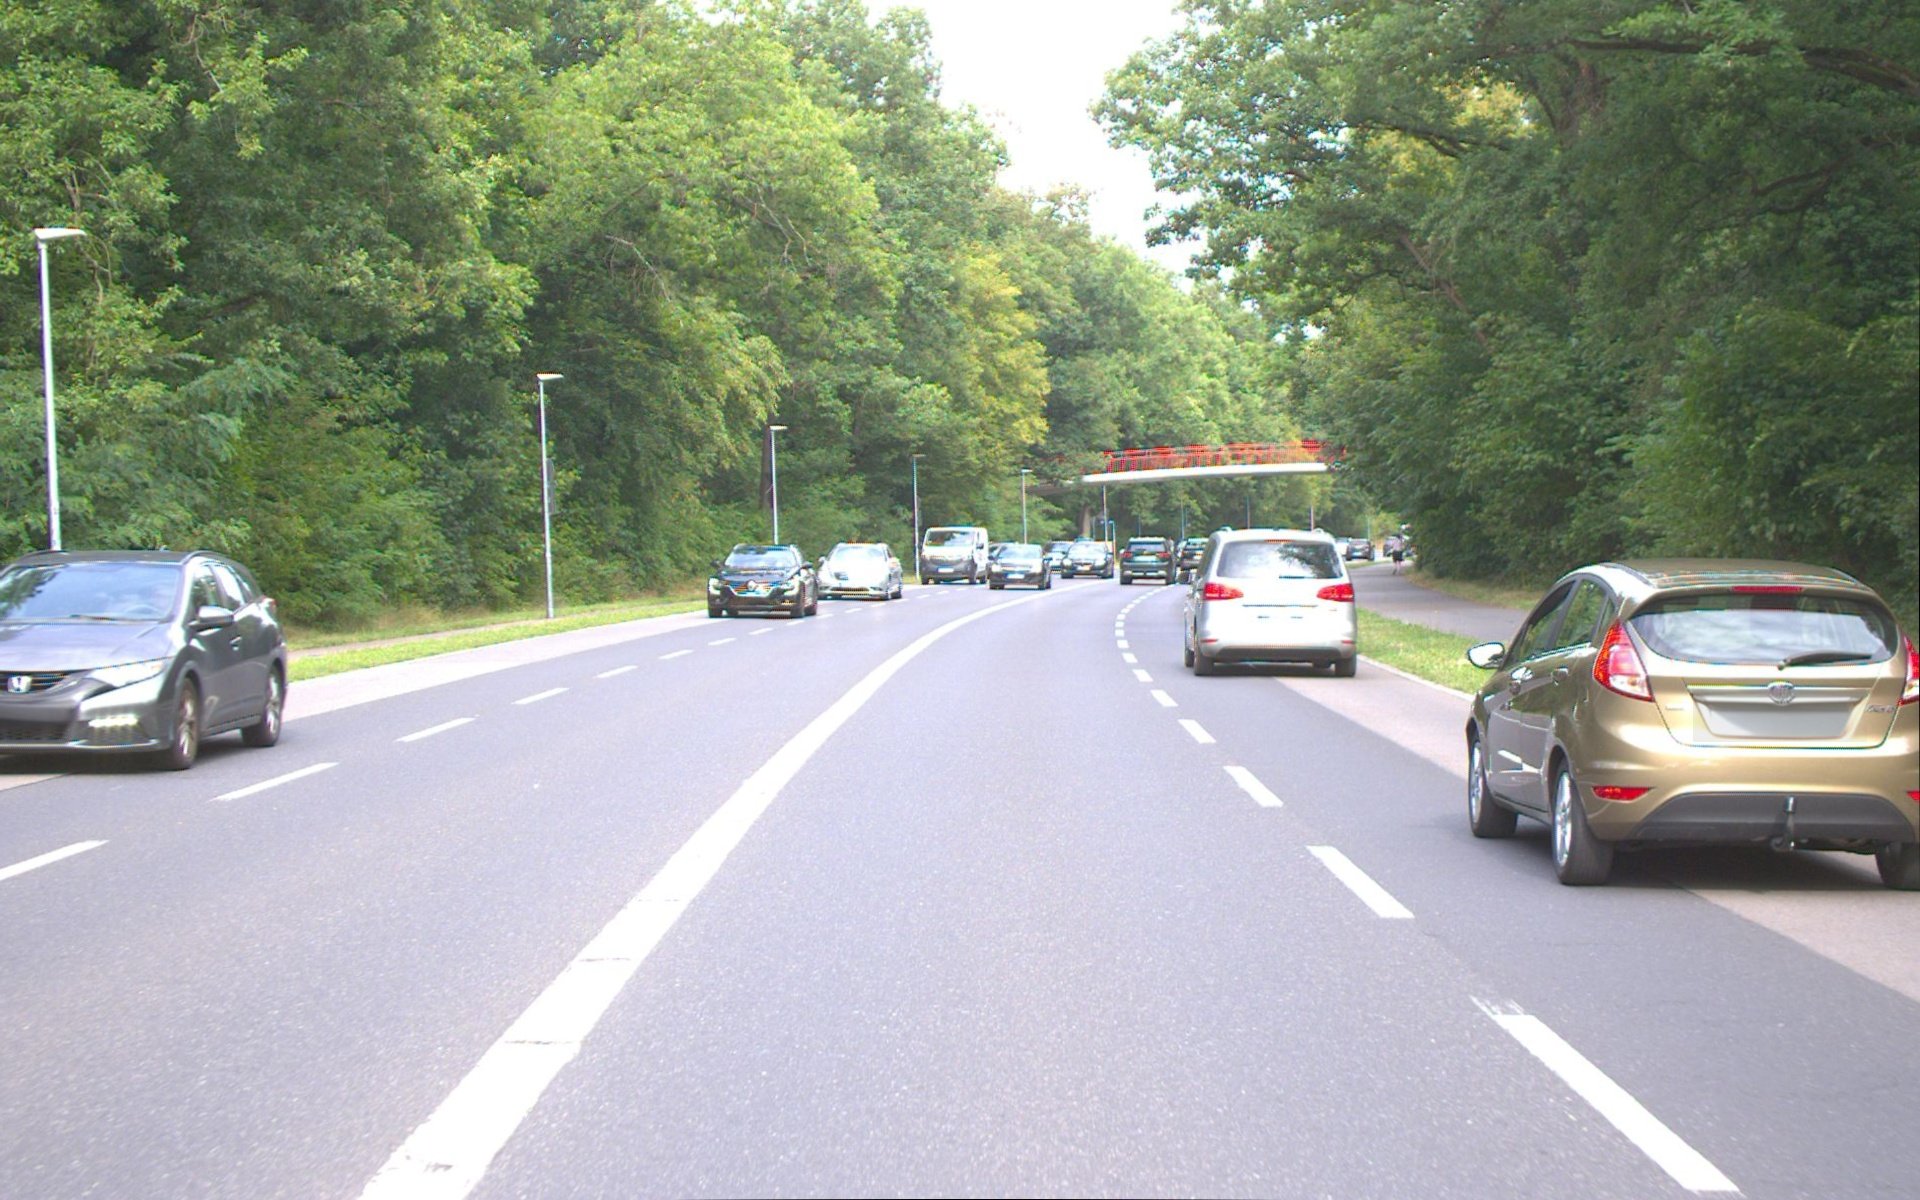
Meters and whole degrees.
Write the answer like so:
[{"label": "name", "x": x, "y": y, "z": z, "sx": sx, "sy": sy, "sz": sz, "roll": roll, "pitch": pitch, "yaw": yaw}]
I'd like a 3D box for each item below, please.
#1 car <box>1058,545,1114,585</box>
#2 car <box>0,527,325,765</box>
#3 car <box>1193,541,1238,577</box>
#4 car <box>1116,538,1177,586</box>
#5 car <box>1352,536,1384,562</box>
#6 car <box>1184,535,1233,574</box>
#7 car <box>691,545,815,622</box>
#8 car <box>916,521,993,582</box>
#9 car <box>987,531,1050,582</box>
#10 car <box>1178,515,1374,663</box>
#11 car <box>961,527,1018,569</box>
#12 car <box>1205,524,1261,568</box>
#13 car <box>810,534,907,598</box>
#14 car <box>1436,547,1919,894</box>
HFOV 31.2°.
[{"label": "car", "x": 5.067, "y": -1.383, "z": 137.337, "sx": 1.886, "sy": 1.473, "sz": 4.517, "roll": 2, "pitch": 0, "yaw": 6}, {"label": "car", "x": -5.788, "y": 0.286, "z": 23.682, "sx": 1.896, "sy": 1.478, "sz": 4.538, "roll": 0, "pitch": 0, "yaw": 1}, {"label": "car", "x": 12.877, "y": -2.053, "z": 173.225, "sx": 1.994, "sy": 1.691, "sz": 3.999, "roll": 2, "pitch": 0, "yaw": 7}, {"label": "car", "x": 6.453, "y": -1.294, "z": 118.628, "sx": 1.730, "sy": 1.582, "sz": 3.999, "roll": 2, "pitch": 0, "yaw": 8}, {"label": "car", "x": 27.403, "y": -3.427, "z": 230.945, "sx": 1.994, "sy": 1.700, "sz": 3.999, "roll": 0, "pitch": 1, "yaw": 9}, {"label": "car", "x": 11.431, "y": -2.064, "z": 158.010, "sx": 1.994, "sy": 1.691, "sz": 3.999, "roll": 2, "pitch": 0, "yaw": 7}, {"label": "car", "x": -4.091, "y": -0.320, "z": 68.608, "sx": 1.881, "sy": 1.438, "sz": 4.403, "roll": 2, "pitch": 0, "yaw": 4}, {"label": "car", "x": -0.163, "y": -1.633, "z": 118.131, "sx": 1.994, "sy": 2.007, "sz": 5.052, "roll": -1, "pitch": 0, "yaw": 7}, {"label": "car", "x": 1.832, "y": -1.338, "z": 106.585, "sx": 1.656, "sy": 1.481, "sz": 3.866, "roll": 2, "pitch": 0, "yaw": 5}, {"label": "car", "x": 3.644, "y": -0.125, "z": 40.294, "sx": 1.993, "sy": 1.601, "sz": 4.000, "roll": 2, "pitch": 0, "yaw": 2}, {"label": "car", "x": 1.167, "y": -2.034, "z": 134.494, "sx": 1.886, "sy": 1.552, "sz": 4.518, "roll": 0, "pitch": 0, "yaw": 5}, {"label": "car", "x": 11.623, "y": -2.271, "z": 146.109, "sx": 1.994, "sy": 1.744, "sz": 3.998, "roll": 2, "pitch": 0, "yaw": 9}, {"label": "car", "x": -2.597, "y": -0.865, "z": 88.712, "sx": 1.994, "sy": 1.558, "sz": 4.603, "roll": 2, "pitch": 0, "yaw": 4}, {"label": "car", "x": 3.421, "y": 0.504, "z": 16.404, "sx": 1.635, "sy": 1.415, "sz": 4.000, "roll": 2, "pitch": 0, "yaw": -1}]
